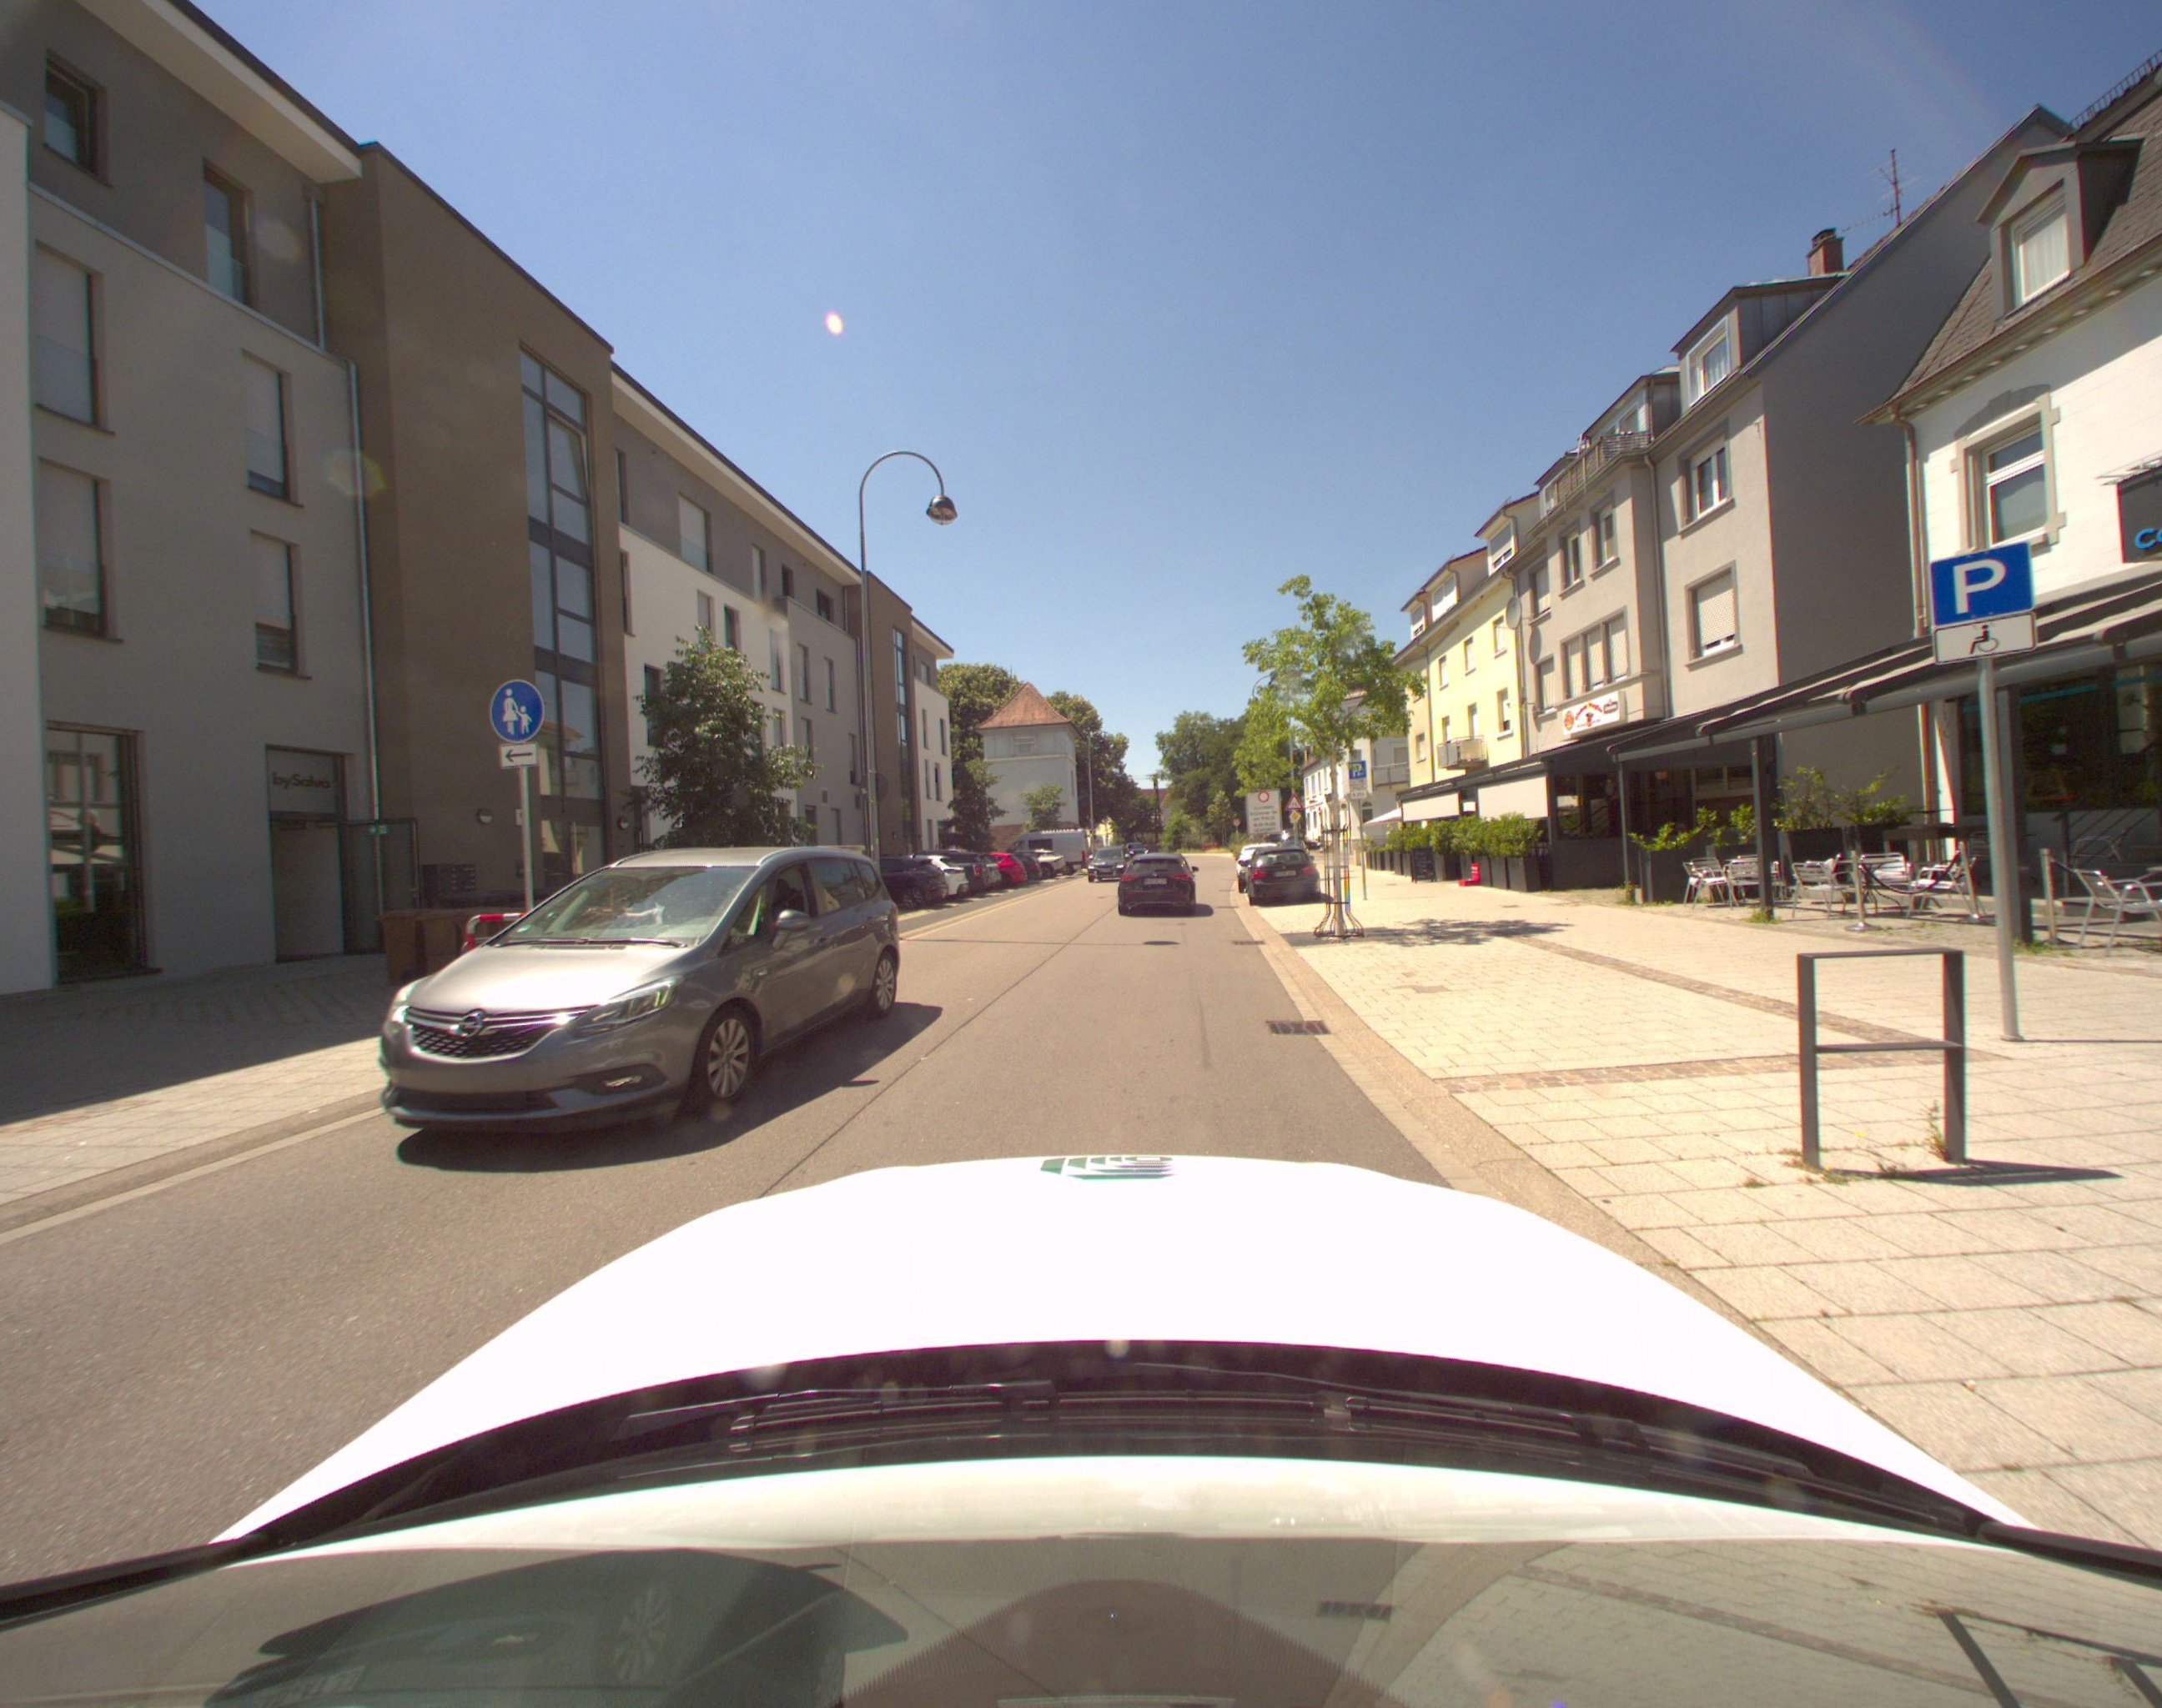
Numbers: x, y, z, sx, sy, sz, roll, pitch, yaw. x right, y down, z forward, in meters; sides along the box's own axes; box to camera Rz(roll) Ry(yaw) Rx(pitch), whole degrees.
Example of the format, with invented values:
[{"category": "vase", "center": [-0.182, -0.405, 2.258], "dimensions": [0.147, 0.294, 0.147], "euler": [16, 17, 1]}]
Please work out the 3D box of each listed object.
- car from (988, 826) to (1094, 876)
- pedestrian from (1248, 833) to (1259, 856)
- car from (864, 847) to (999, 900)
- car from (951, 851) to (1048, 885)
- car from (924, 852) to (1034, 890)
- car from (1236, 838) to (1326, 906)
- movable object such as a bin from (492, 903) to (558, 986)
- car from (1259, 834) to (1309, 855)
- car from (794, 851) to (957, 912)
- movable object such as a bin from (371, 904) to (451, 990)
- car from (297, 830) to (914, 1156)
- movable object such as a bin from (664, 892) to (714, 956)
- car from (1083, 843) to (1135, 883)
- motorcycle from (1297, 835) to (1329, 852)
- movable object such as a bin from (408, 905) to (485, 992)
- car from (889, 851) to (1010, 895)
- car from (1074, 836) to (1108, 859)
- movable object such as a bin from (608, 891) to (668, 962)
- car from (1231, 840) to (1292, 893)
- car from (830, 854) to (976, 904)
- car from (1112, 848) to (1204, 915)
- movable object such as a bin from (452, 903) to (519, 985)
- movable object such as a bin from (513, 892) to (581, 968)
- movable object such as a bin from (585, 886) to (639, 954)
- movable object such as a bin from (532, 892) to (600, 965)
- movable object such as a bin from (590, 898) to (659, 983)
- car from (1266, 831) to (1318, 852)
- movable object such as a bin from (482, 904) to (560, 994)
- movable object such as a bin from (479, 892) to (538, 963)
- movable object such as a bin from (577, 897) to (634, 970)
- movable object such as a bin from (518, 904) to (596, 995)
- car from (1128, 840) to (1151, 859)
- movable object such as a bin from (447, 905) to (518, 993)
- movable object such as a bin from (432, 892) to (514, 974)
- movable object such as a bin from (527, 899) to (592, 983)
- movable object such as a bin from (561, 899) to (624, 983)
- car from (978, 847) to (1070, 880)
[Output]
[{"category": "car", "center": [-2.288, -0.147, 47.653], "dimensions": [5.735, 2.732, 2.297], "euler": [-1, 0, 8]}, {"category": "pedestrian", "center": [14.124, -0.774, 66.715], "dimensions": [0.740, 1.796, 0.847], "euler": [-3, 2, 14]}, {"category": "car", "center": [-5.051, 0.650, 27.790], "dimensions": [4.008, 1.651, 2.005], "euler": [-1, 0, 9]}, {"category": "car", "center": [-3.725, 0.624, 37.745], "dimensions": [4.182, 1.437, 1.887], "euler": [-1, 0, 3]}, {"category": "car", "center": [-4.121, 0.691, 33.187], "dimensions": [4.008, 1.430, 2.005], "euler": [-1, 0, 9]}, {"category": "car", "center": [5.145, 0.437, 21.416], "dimensions": [1.822, 1.482, 4.105], "euler": [-5, -1, 9]}, {"category": "movable object such as a bin", "center": [-7.171, 1.155, 10.515], "dimensions": [0.401, 0.998, 0.557], "euler": [-2, 0, 6]}, {"category": "car", "center": [18.069, -0.807, 72.479], "dimensions": [4.055, 1.716, 1.859], "euler": [-1, 0, 5]}, {"category": "car", "center": [-5.738, 0.751, 23.051], "dimensions": [3.965, 1.515, 2.005], "euler": [-1, 1, 7]}, {"category": "movable object such as a bin", "center": [-8.417, 1.151, 10.248], "dimensions": [0.481, 0.998, 0.588], "euler": [-2, 0, 0]}, {"category": "car", "center": [-2.956, 0.741, 6.359], "dimensions": [1.932, 1.658, 4.244], "euler": [-2, 0, 7]}, {"category": "movable object such as a bin", "center": [-6.381, 1.131, 13.253], "dimensions": [0.551, 0.998, 0.428], "euler": [-2, 0, 8]}, {"category": "car", "center": [1.380, 0.398, 38.510], "dimensions": [1.799, 1.701, 4.088], "euler": [-2, 0, 10]}, {"category": "motorcycle", "center": [18.962, -0.834, 66.552], "dimensions": [2.364, 1.275, 0.858], "euler": [-2, 1, 6]}, {"category": "movable object such as a bin", "center": [-7.790, 1.151, 10.011], "dimensions": [0.480, 0.998, 0.527], "euler": [-2, 0, 5]}, {"category": "car", "center": [-4.907, 0.696, 30.611], "dimensions": [4.008, 1.496, 2.005], "euler": [-1, 0, 9]}, {"category": "car", "center": [1.213, -0.766, 99.310], "dimensions": [2.137, 2.629, 5.236], "euler": [-3, 0, -23]}, {"category": "movable object such as a bin", "center": [-6.829, 1.107, 12.570], "dimensions": [0.552, 1.020, 0.561], "euler": [-2, 0, 3]}, {"category": "car", "center": [6.013, 0.380, 27.077], "dimensions": [1.725, 1.486, 4.069], "euler": [-5, -1, 13]}, {"category": "car", "center": [-5.476, 0.753, 25.298], "dimensions": [3.965, 1.421, 1.914], "euler": [-1, 0, 7]}, {"category": "car", "center": [2.011, 0.643, 20.110], "dimensions": [1.816, 1.442, 4.012], "euler": [-2, -1, 11]}, {"category": "movable object such as a bin", "center": [-7.746, 1.159, 10.611], "dimensions": [0.401, 0.998, 0.557], "euler": [-2, 0, 6]}, {"category": "movable object such as a bin", "center": [-7.847, 1.102, 11.988], "dimensions": [0.620, 1.039, 0.580], "euler": [-2, 0, -10]}, {"category": "movable object such as a bin", "center": [-7.656, 1.062, 13.321], "dimensions": [0.575, 1.039, 0.548], "euler": [-2, 0, -10]}, {"category": "movable object such as a bin", "center": [-7.979, 1.141, 12.636], "dimensions": [0.675, 1.039, 0.602], "euler": [-2, 0, -10]}, {"category": "movable object such as a bin", "center": [-5.782, 1.088, 10.335], "dimensions": [0.480, 0.998, 0.589], "euler": [-2, 0, 6]}, {"category": "car", "center": [18.180, -1.082, 70.323], "dimensions": [4.055, 1.716, 1.859], "euler": [-1, 0, 5]}, {"category": "movable object such as a bin", "center": [-6.757, 1.132, 9.846], "dimensions": [0.480, 0.998, 0.589], "euler": [-2, 0, 6]}, {"category": "movable object such as a bin", "center": [-8.850, 1.124, 12.602], "dimensions": [0.554, 1.039, 0.480], "euler": [-2, 0, -10]}, {"category": "movable object such as a bin", "center": [-6.923, 1.150, 11.871], "dimensions": [0.553, 0.998, 0.403], "euler": [-3, 0, -6]}, {"category": "movable object such as a bin", "center": [-6.248, 1.123, 9.732], "dimensions": [0.481, 0.998, 0.588], "euler": [-2, 0, 4]}, {"category": "car", "center": [5.164, -0.410, 72.224], "dimensions": [1.885, 1.553, 4.804], "euler": [0, 1, 3]}, {"category": "movable object such as a bin", "center": [-7.296, 1.143, 9.937], "dimensions": [0.422, 0.998, 0.524], "euler": [-2, 0, 7]}, {"category": "movable object such as a bin", "center": [-8.744, 1.120, 11.741], "dimensions": [0.692, 1.095, 0.645], "euler": [-2, 0, -10]}, {"category": "movable object such as a bin", "center": [-6.706, 1.107, 10.486], "dimensions": [0.401, 0.998, 0.557], "euler": [-2, 0, 6]}, {"category": "movable object such as a bin", "center": [-6.251, 1.099, 10.430], "dimensions": [0.401, 0.998, 0.557], "euler": [-2, 0, 6]}, {"category": "car", "center": [-2.952, 0.479, 42.849], "dimensions": [4.430, 1.591, 2.004], "euler": [-1, 0, 7]}]
